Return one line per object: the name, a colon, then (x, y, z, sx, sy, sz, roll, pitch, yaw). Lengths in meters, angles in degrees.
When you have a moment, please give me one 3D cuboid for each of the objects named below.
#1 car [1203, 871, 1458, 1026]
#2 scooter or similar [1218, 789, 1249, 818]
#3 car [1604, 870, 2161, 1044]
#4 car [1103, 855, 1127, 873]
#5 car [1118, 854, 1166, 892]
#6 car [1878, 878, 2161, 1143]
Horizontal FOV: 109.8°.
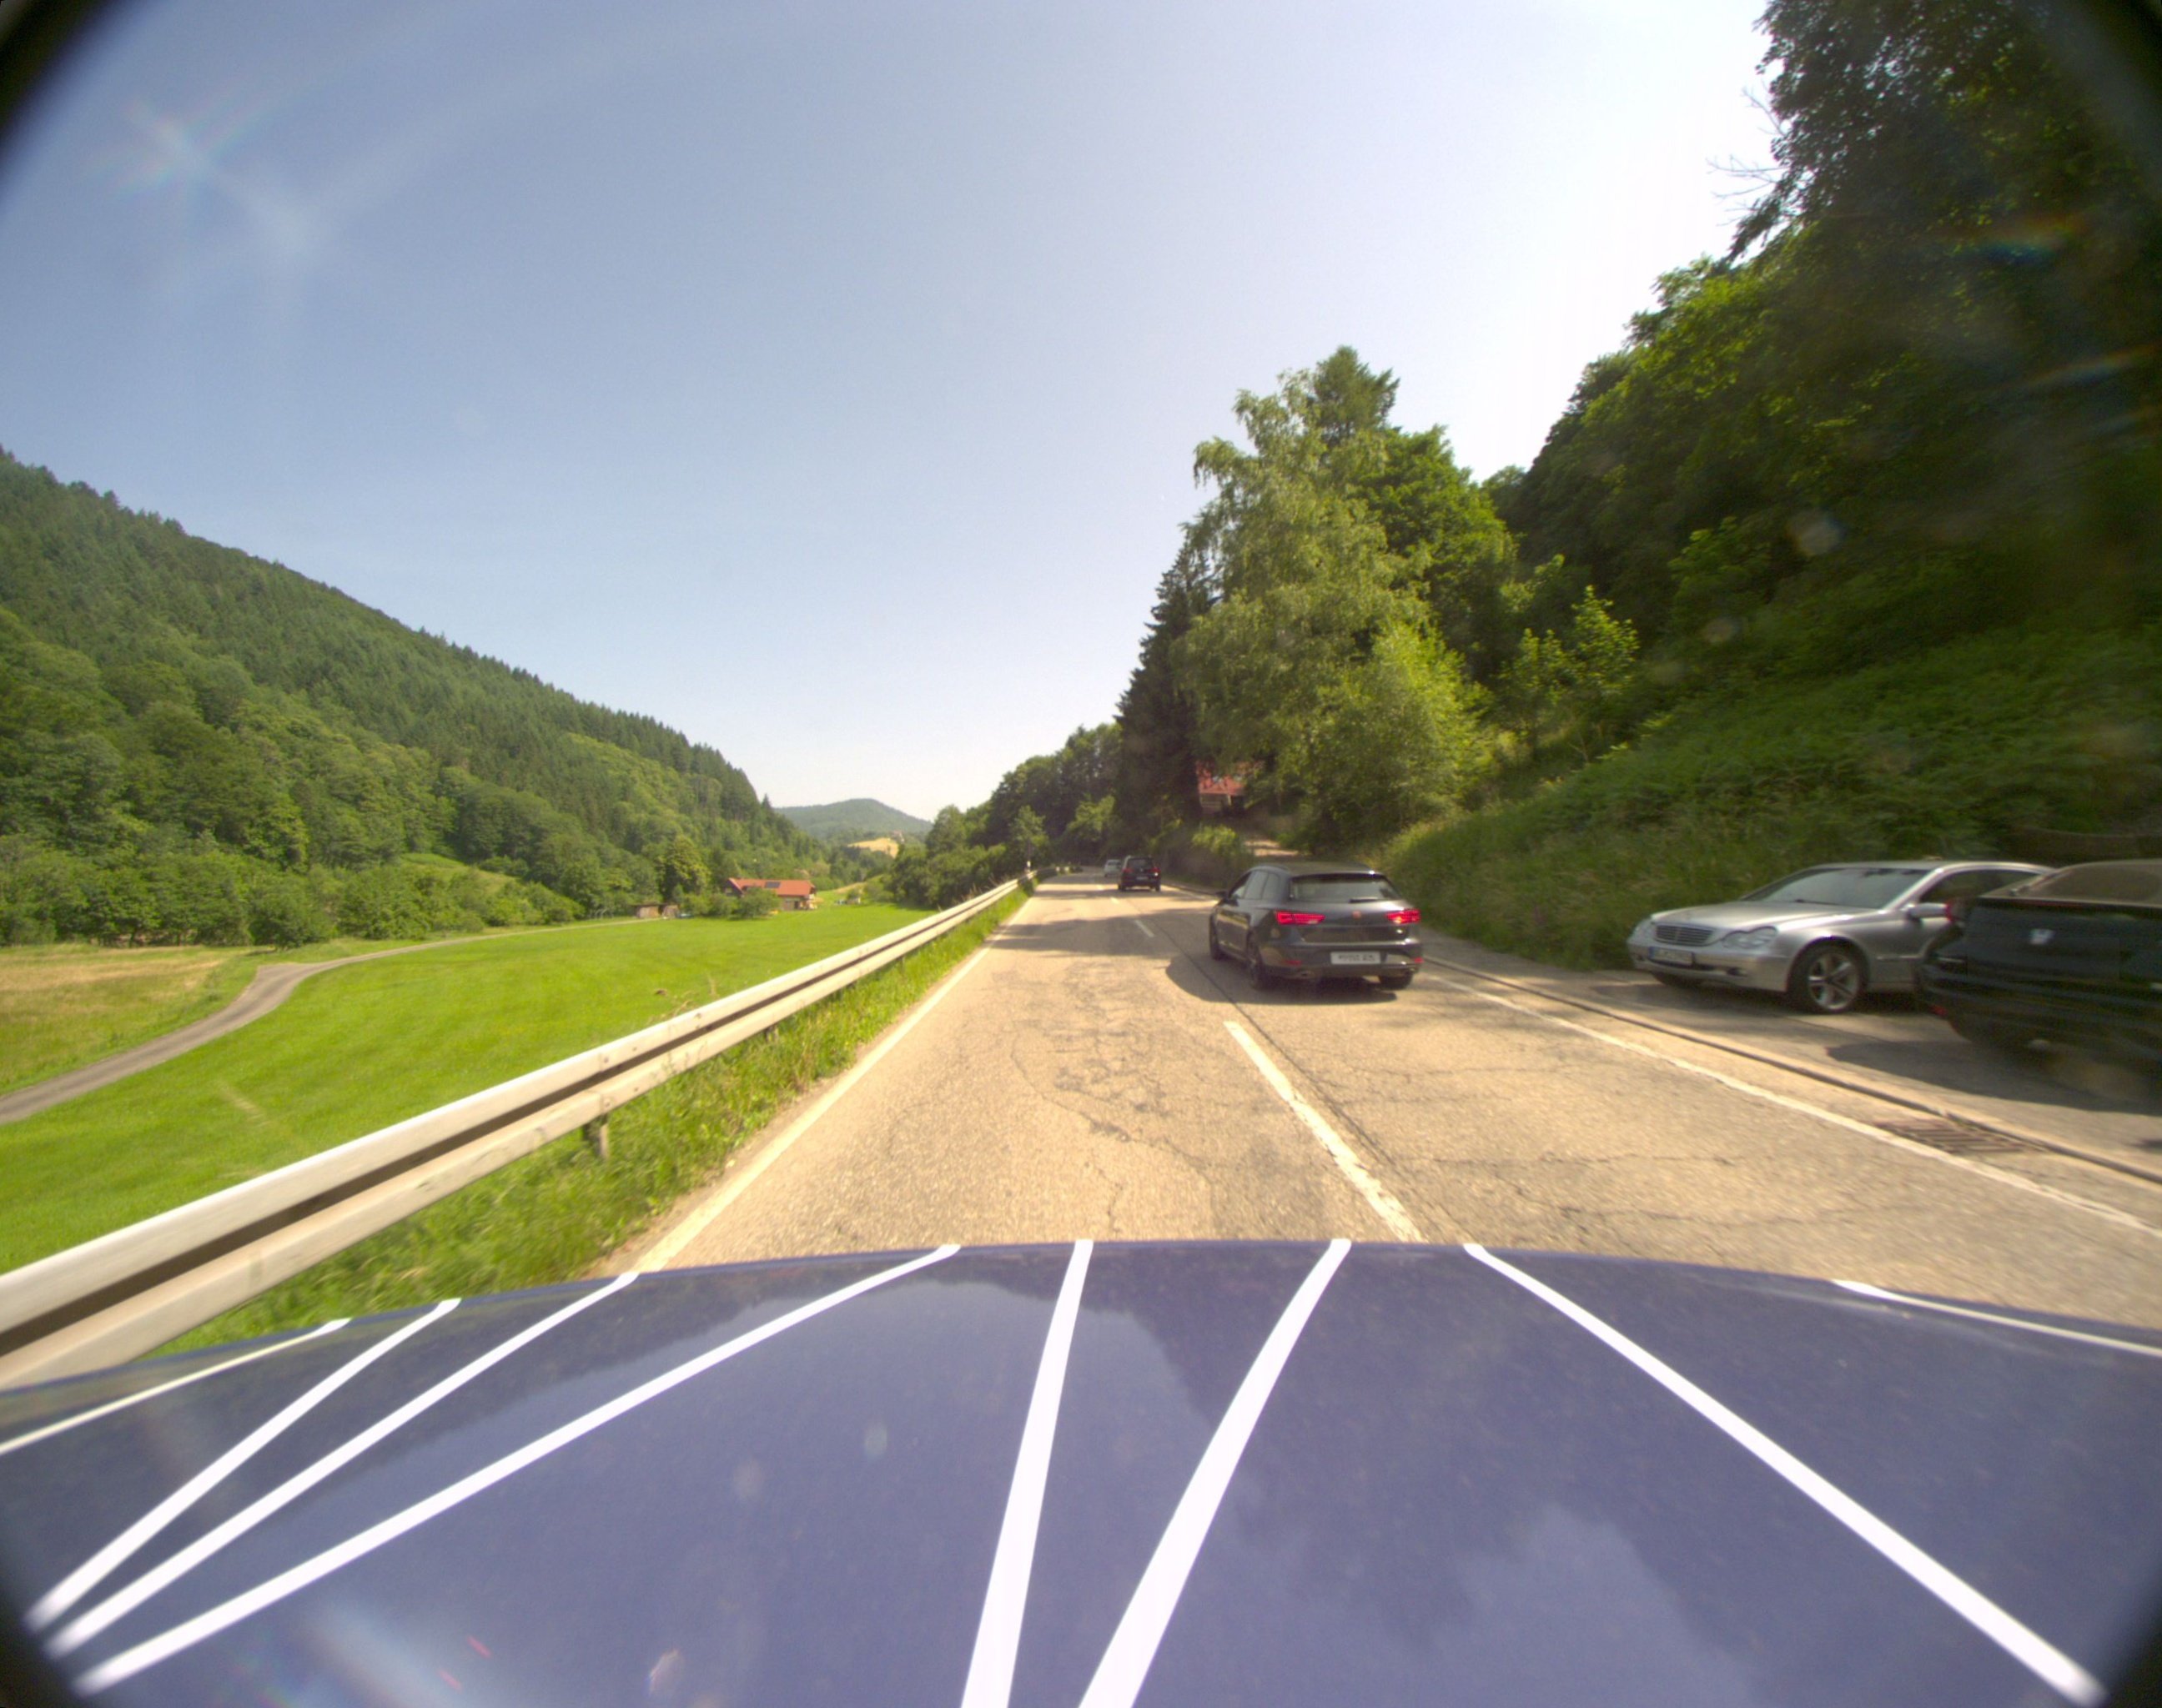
car: (2.767, 0.968, 9.474, 1.769, 1.388, 4.144, -1, 0, -1)
scooter or similar: (13.003, -4.276, 65.008, 1.982, 2.015, 4.406, -4, 0, 5)
car: (7.721, 0.908, 7.539, 3.827, 1.408, 1.857, -1, 1, -3)
car: (2.947, 0.913, 66.288, 1.782, 1.428, 4.001, -4, -2, 0)
car: (2.821, 0.836, 36.034, 1.894, 1.635, 4.257, -1, 1, -1)
car: (7.977, 0.935, 4.872, 3.827, 1.424, 1.863, 1, 1, -2)
